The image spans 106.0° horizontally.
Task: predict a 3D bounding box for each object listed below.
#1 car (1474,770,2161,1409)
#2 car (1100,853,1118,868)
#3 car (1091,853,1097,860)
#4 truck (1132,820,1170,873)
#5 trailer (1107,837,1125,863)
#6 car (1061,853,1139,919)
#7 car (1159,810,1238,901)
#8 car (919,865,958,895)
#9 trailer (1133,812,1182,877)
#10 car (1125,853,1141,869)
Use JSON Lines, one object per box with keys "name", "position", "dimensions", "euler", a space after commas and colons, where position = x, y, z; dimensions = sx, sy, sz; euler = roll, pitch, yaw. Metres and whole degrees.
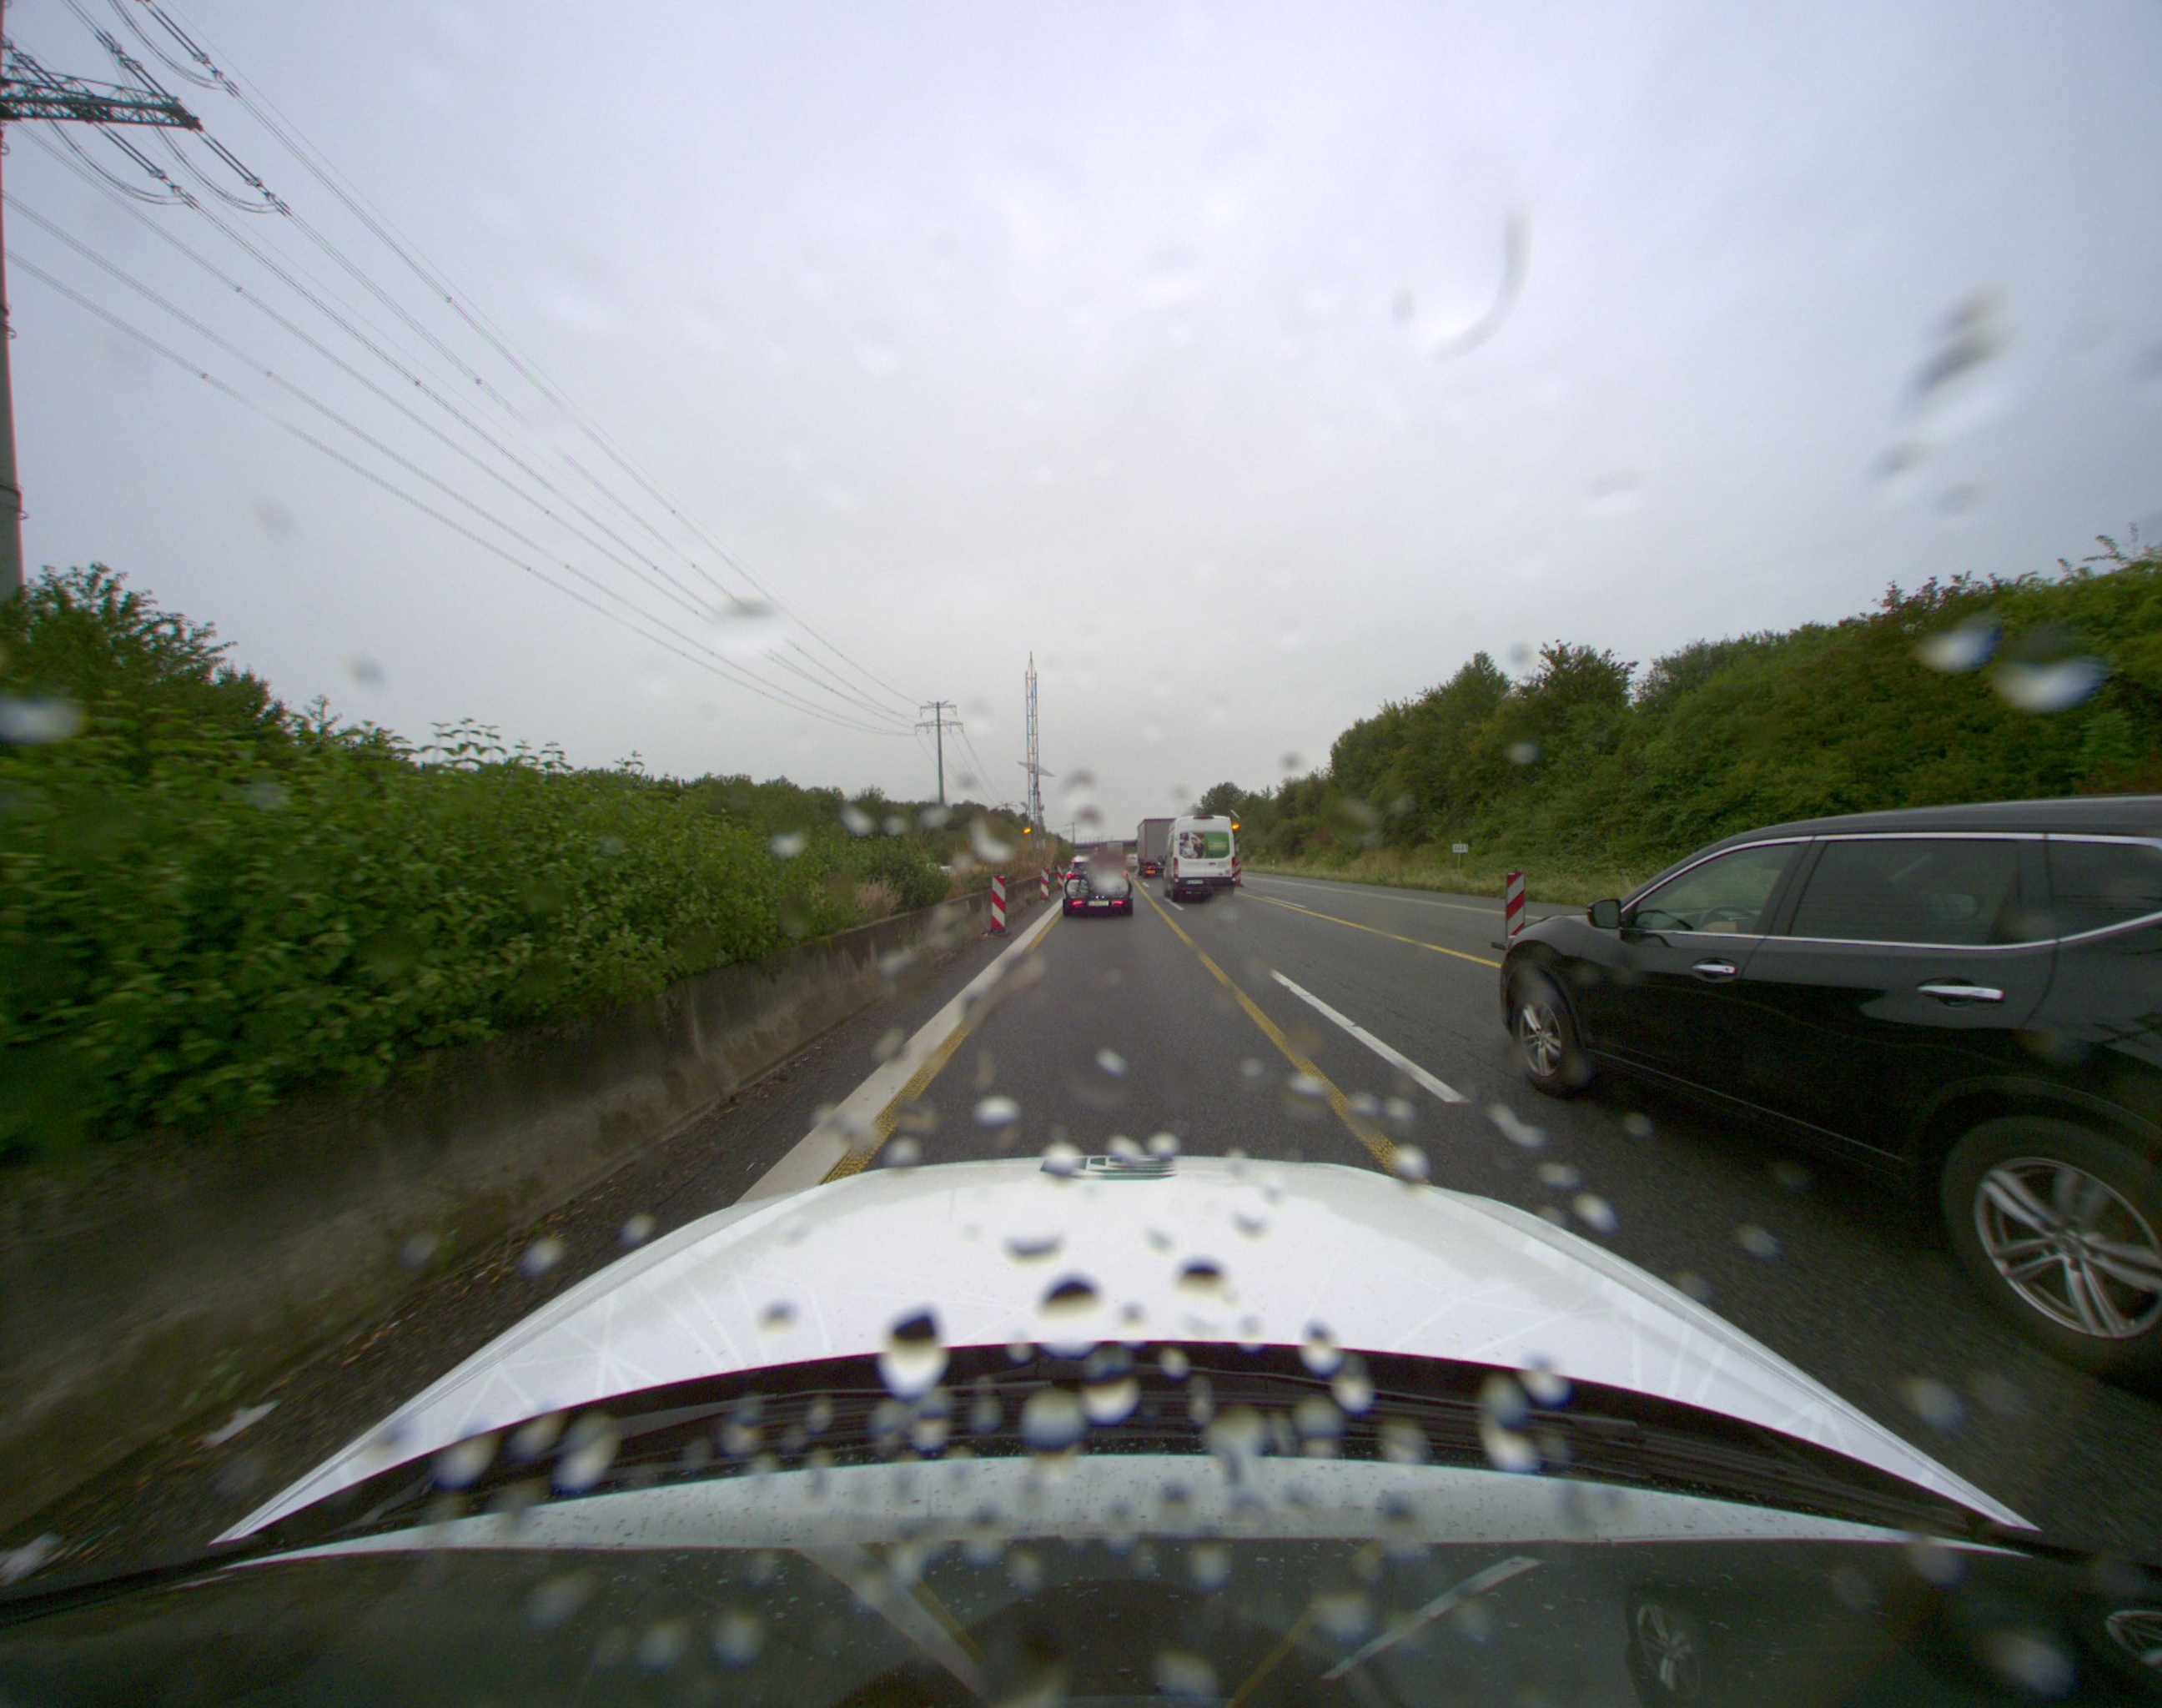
{"name": "car", "position": [3.639, 0.599, 3.643], "dimensions": [1.679, 1.658, 4.280], "euler": [-1, 0, 0]}
{"name": "car", "position": [2.905, 0.713, 85.955], "dimensions": [1.843, 1.531, 4.001], "euler": [-1, 0, 1]}
{"name": "car", "position": [4.080, 0.720, 259.123], "dimensions": [1.924, 1.973, 4.002], "euler": [-1, 1, 1]}
{"name": "truck", "position": [5.688, -0.573, 66.789], "dimensions": [2.696, 4.138, 5.692], "euler": [-1, 0, 1]}
{"name": "trailer", "position": [5.737, -0.558, 136.375], "dimensions": [2.683, 4.076, 13.637], "euler": [-1, 0, 2]}
{"name": "car", "position": [0.514, 0.777, 21.875], "dimensions": [1.843, 1.531, 4.770], "euler": [-1, 0, 1]}
{"name": "car", "position": [3.939, 0.039, 28.300], "dimensions": [1.986, 2.783, 5.758], "euler": [-2, 0, 1]}
{"name": "car", "position": [-9.513, 1.700, 54.517], "dimensions": [1.726, 1.933, 4.162], "euler": [-1, -1, 2]}
{"name": "trailer", "position": [5.436, -0.595, 60.078], "dimensions": [2.696, 4.146, 13.737], "euler": [-1, 0, 2]}
{"name": "car", "position": [6.313, 0.809, 99.298], "dimensions": [1.822, 1.839, 4.657], "euler": [-1, 0, 1]}
